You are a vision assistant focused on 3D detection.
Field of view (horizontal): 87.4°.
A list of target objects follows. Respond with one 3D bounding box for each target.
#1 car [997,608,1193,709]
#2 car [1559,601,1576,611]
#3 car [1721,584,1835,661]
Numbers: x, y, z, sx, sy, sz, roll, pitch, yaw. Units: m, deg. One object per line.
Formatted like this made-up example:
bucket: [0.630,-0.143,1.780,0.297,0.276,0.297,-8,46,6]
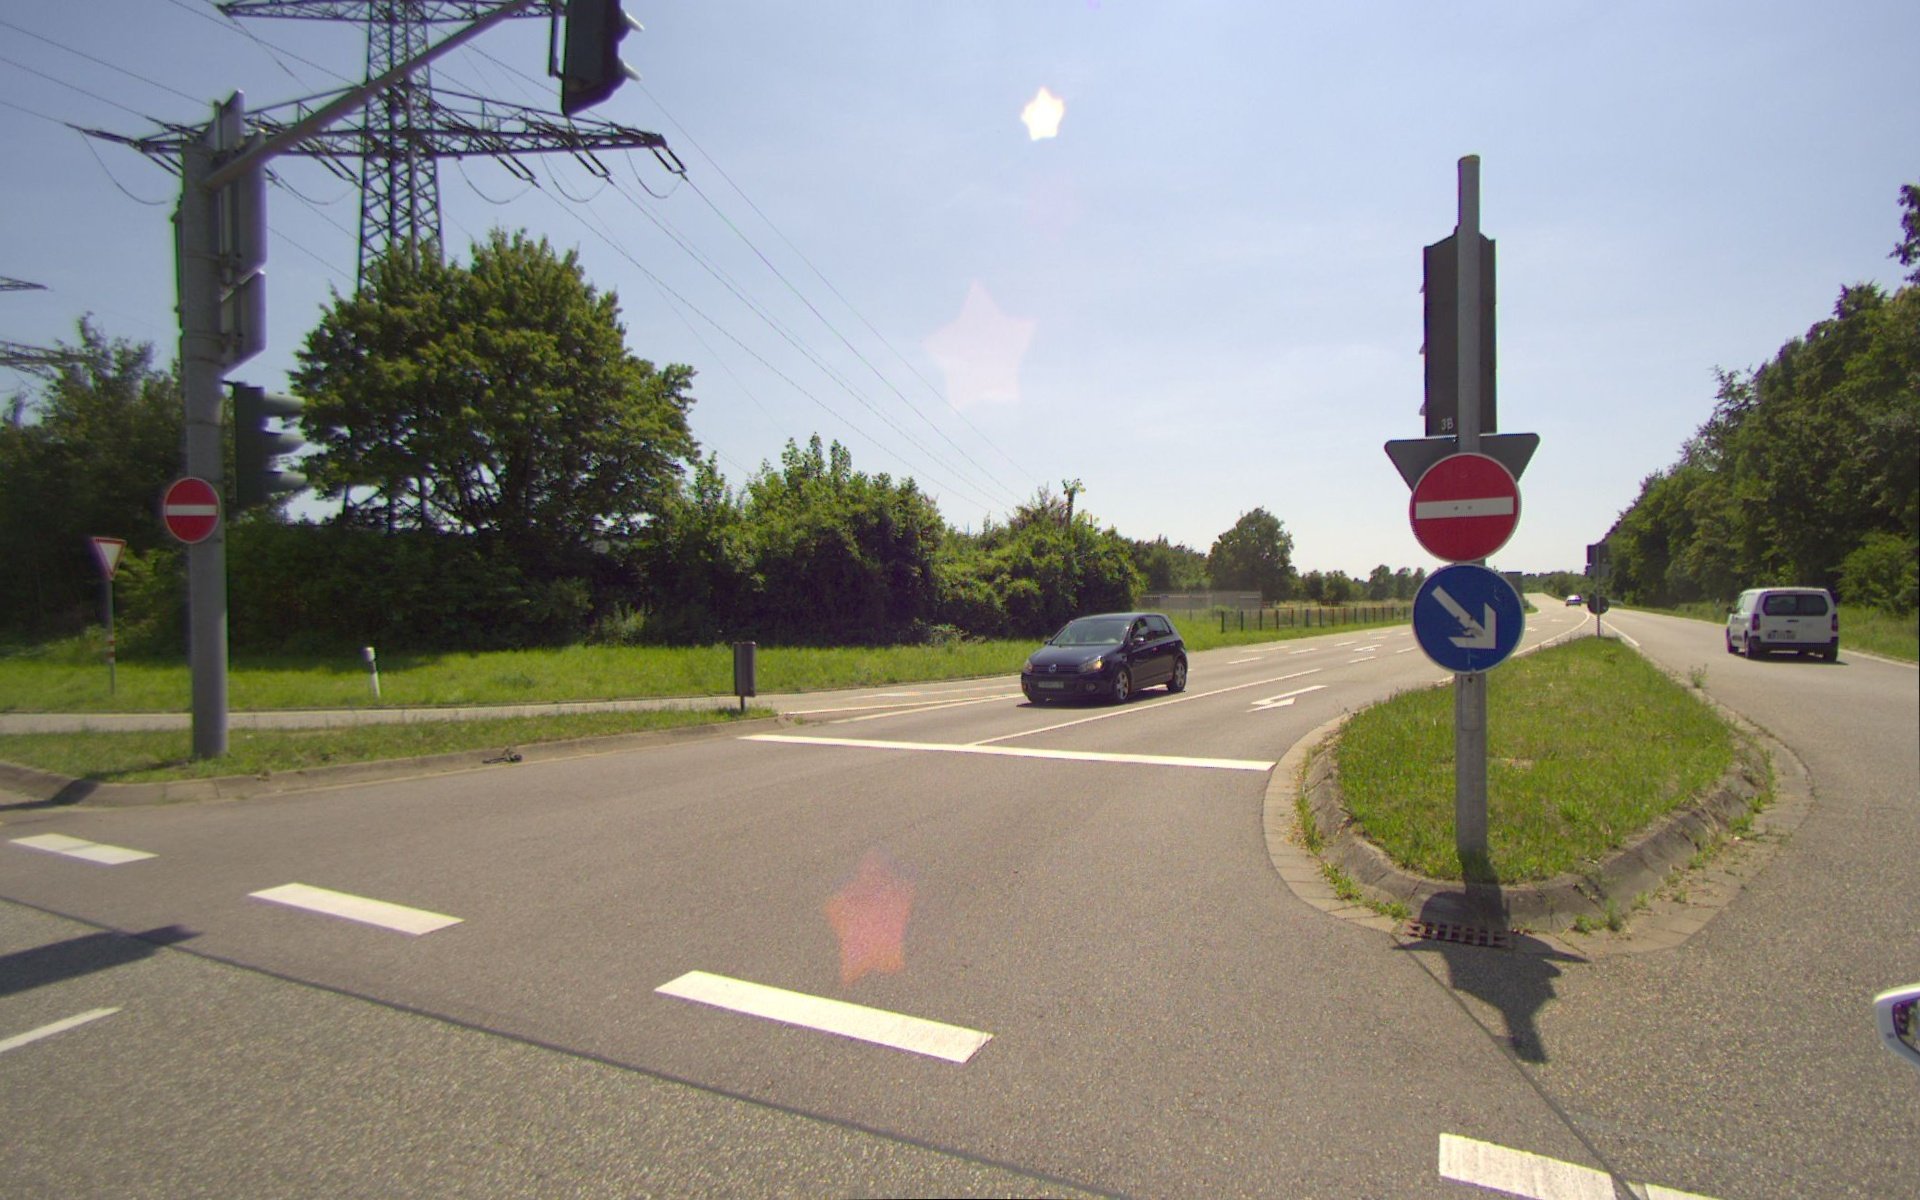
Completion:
car: [2.502,0.965,17.694,1.712,1.552,4.155,-4,-3,34]
car: [86.307,0.836,142.763,1.966,1.391,4.770,-1,-1,32]
car: [21.354,0.563,26.360,1.823,1.850,3.971,0,-1,32]
